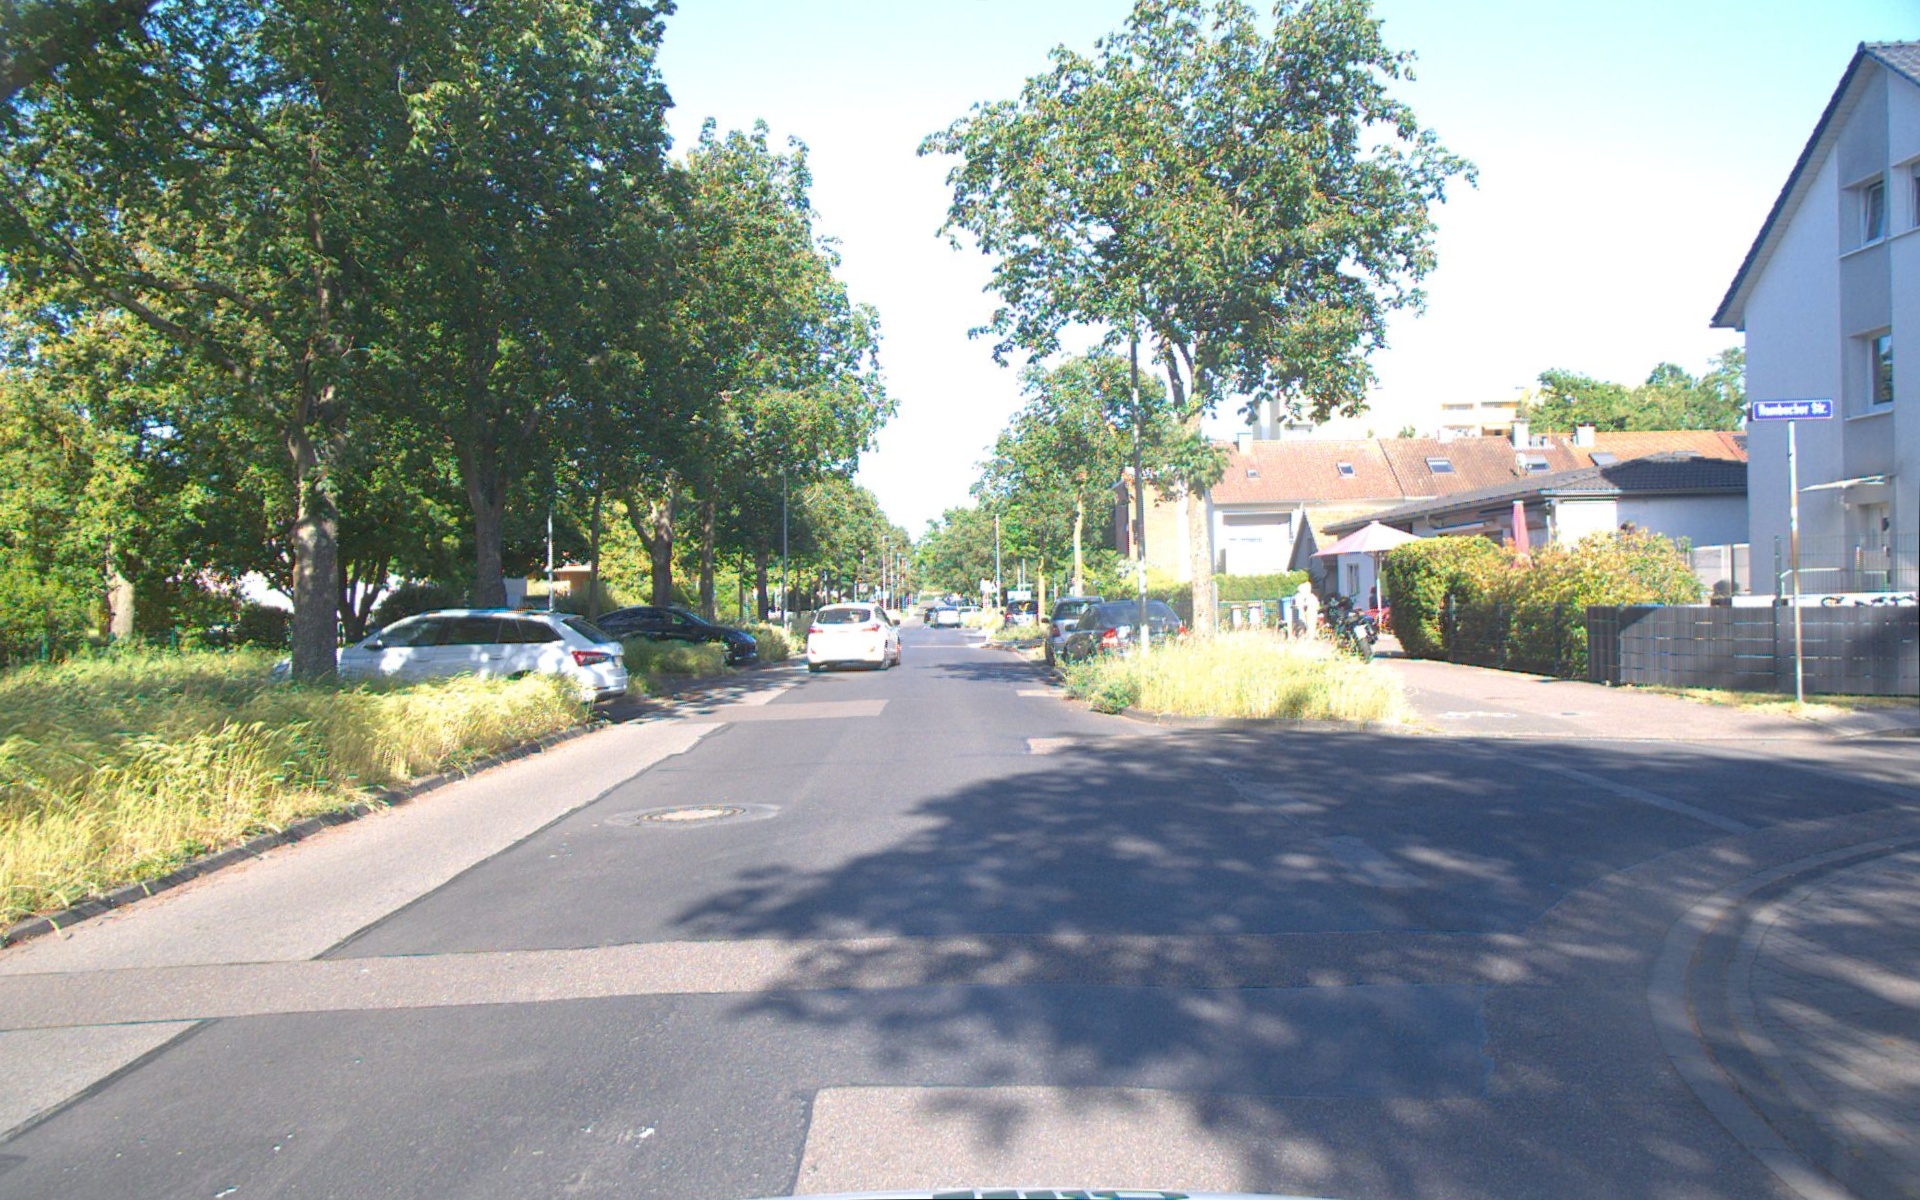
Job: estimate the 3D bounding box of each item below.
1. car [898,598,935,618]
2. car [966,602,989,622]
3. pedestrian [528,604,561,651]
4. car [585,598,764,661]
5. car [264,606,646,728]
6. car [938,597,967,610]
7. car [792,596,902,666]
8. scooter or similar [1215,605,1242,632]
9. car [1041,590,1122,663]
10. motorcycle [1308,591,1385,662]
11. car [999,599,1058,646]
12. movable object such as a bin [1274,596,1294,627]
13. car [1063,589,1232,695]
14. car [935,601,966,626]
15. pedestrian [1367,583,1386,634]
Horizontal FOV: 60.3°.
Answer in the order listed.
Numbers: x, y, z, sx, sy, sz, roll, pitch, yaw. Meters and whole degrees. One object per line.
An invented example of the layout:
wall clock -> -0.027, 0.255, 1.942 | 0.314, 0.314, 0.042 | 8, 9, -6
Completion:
car -> -4.611, 0.873, 175.093 | 3.907, 2.049, 1.999 | 0, -2, -2
car -> 1.422, 0.937, 132.748 | 1.698, 1.534, 3.657 | 2, -1, -1
pedestrian -> -16.618, 1.106, 66.146 | 1.206, 1.859, 1.543 | 1, -1, -17
car -> -7.230, 0.744, 42.242 | 4.279, 1.558, 1.807 | 0, -1, -2
car -> -6.792, 0.883, 22.628 | 4.575, 1.530, 2.000 | -1, 0, 0
car -> -1.094, 0.472, 228.308 | 3.908, 1.780, 1.999 | -1, 0, -4
car -> -2.529, 0.669, 37.938 | 1.952, 1.480, 4.227 | -1, 0, 4
scooter or similar -> 9.086, 0.621, 56.009 | 0.361, 0.873, 1.407 | -1, 0, -14
car -> 2.947, 0.640, 40.823 | 1.577, 1.650, 4.381 | 2, -1, 0
motorcycle -> 7.267, 0.479, 31.224 | 0.801, 1.248, 2.351 | -3, 0, -1
car -> 2.761, 0.917, 67.650 | 1.954, 1.758, 3.997 | -3, -1, -3
movable object such as a bin -> 11.348, 0.406, 57.966 | 0.483, 1.049, 0.747 | -4, 0, -1
car -> 3.172, 0.684, 28.871 | 1.955, 1.650, 4.375 | 2, -1, -7
car -> -0.648, 0.871, 107.502 | 1.953, 1.534, 3.657 | 2, -1, -1
pedestrian -> 11.634, 0.231, 46.199 | 0.430, 1.409, 0.639 | 0, -1, 4
